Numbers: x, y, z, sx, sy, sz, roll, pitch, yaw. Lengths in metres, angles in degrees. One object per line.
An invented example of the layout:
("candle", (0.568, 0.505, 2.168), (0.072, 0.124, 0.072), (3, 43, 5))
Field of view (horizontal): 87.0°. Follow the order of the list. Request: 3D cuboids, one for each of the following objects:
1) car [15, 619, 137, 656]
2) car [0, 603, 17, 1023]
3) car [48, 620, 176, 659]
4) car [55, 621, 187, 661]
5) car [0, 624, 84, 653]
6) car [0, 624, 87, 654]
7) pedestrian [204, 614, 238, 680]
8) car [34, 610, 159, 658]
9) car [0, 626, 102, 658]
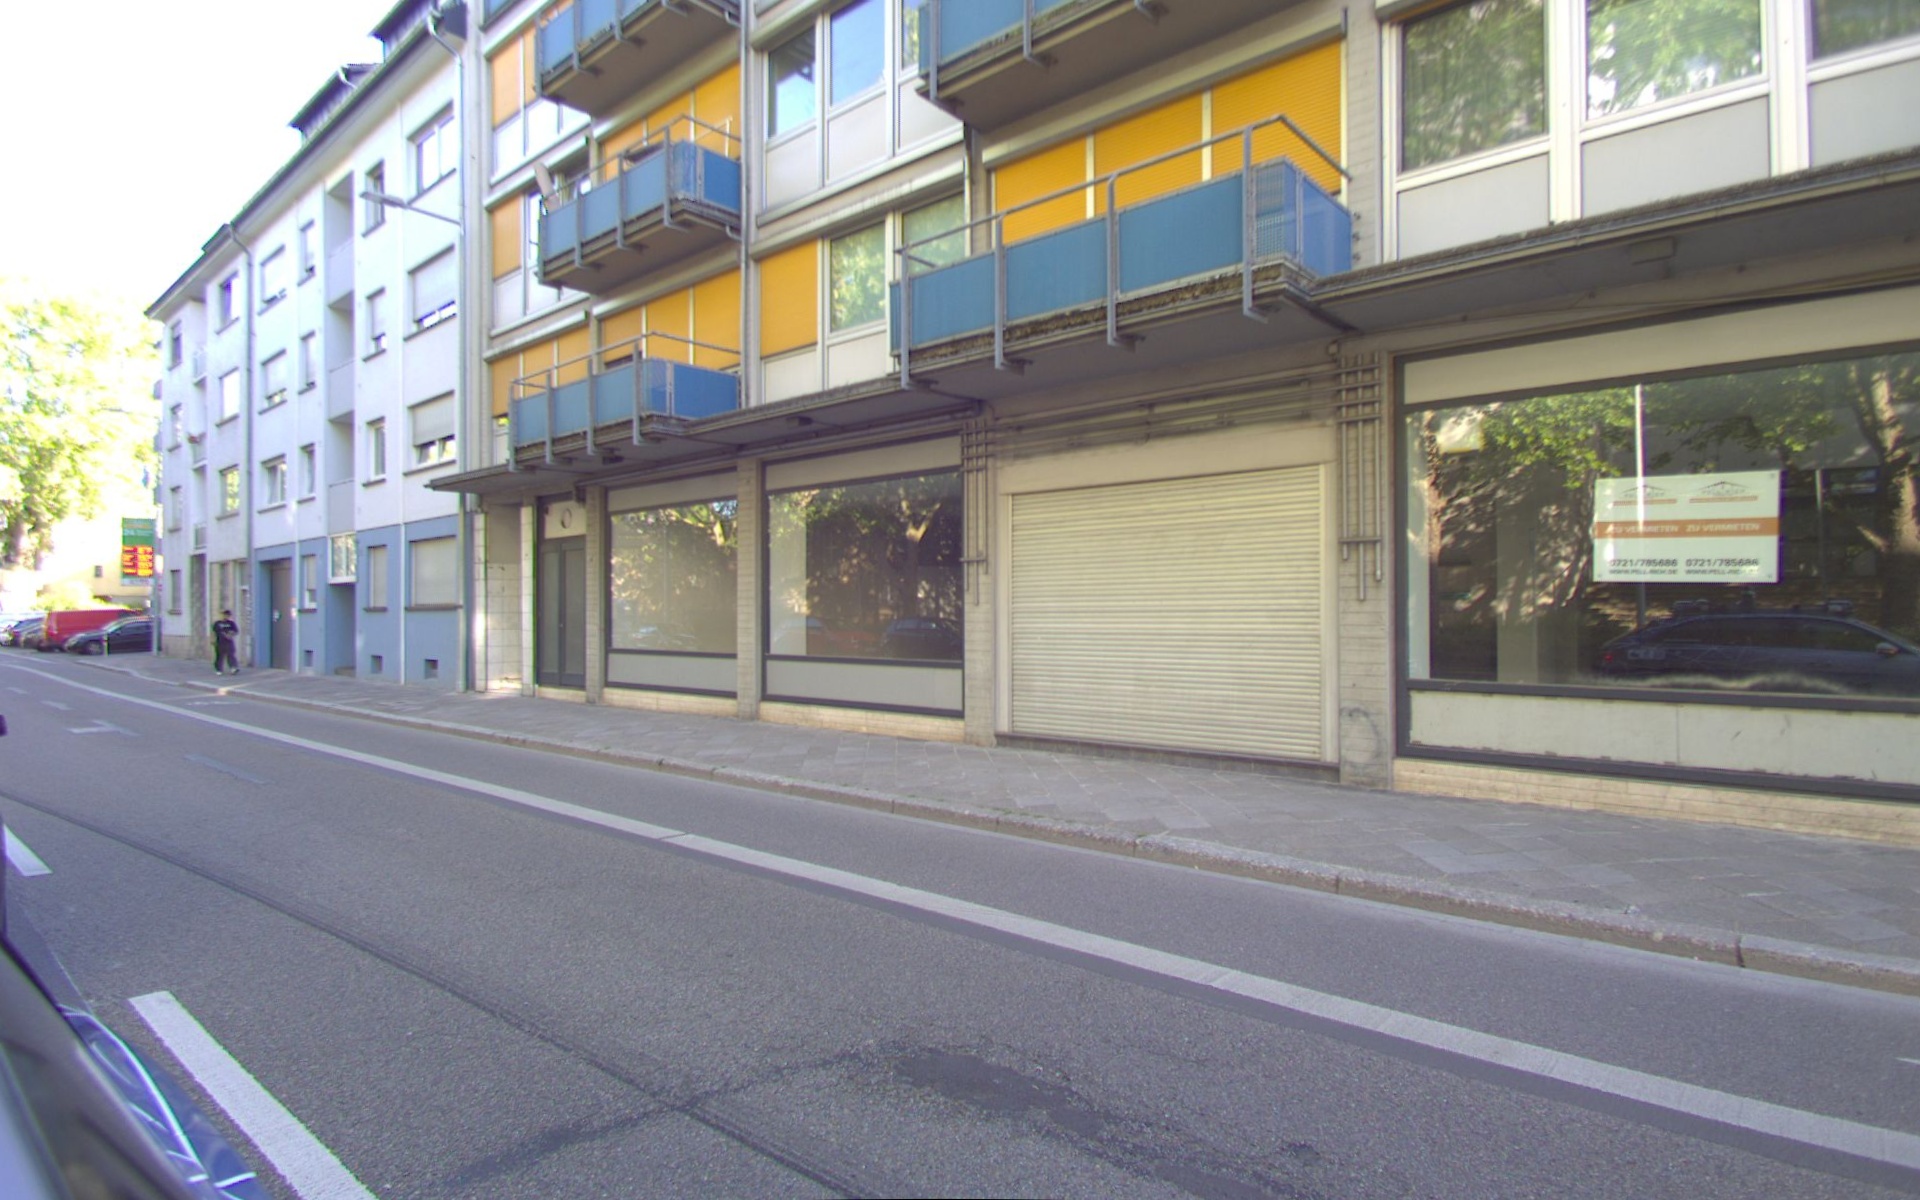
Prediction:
("car", (-42.756, 1.797, 49.018), (1.652, 1.480, 4.201), (-1, 1, 41))
("car", (-5.644, 0.800, 4.408), (4.300, 1.510, 1.826), (-1, -1, 41))
("car", (-38.187, 1.738, 45.660), (1.652, 1.480, 4.201), (-1, 1, 41))
("car", (-36.494, 1.751, 44.097), (1.652, 1.411, 4.201), (-1, 1, 41))
("car", (-55.878, 2.307, 61.201), (1.652, 1.480, 4.201), (-1, 1, 41))
("car", (-54.496, 2.287, 59.794), (1.652, 1.480, 4.201), (-1, 1, 41))
("pedestrian", (-19.740, 1.245, 27.034), (0.655, 1.708, 0.604), (-2, -1, 41))
("car", (-40.568, 1.565, 47.622), (1.817, 1.933, 4.202), (-2, 1, 40))
("car", (-50.464, 2.300, 56.109), (1.652, 1.480, 4.201), (-1, 1, 41))
